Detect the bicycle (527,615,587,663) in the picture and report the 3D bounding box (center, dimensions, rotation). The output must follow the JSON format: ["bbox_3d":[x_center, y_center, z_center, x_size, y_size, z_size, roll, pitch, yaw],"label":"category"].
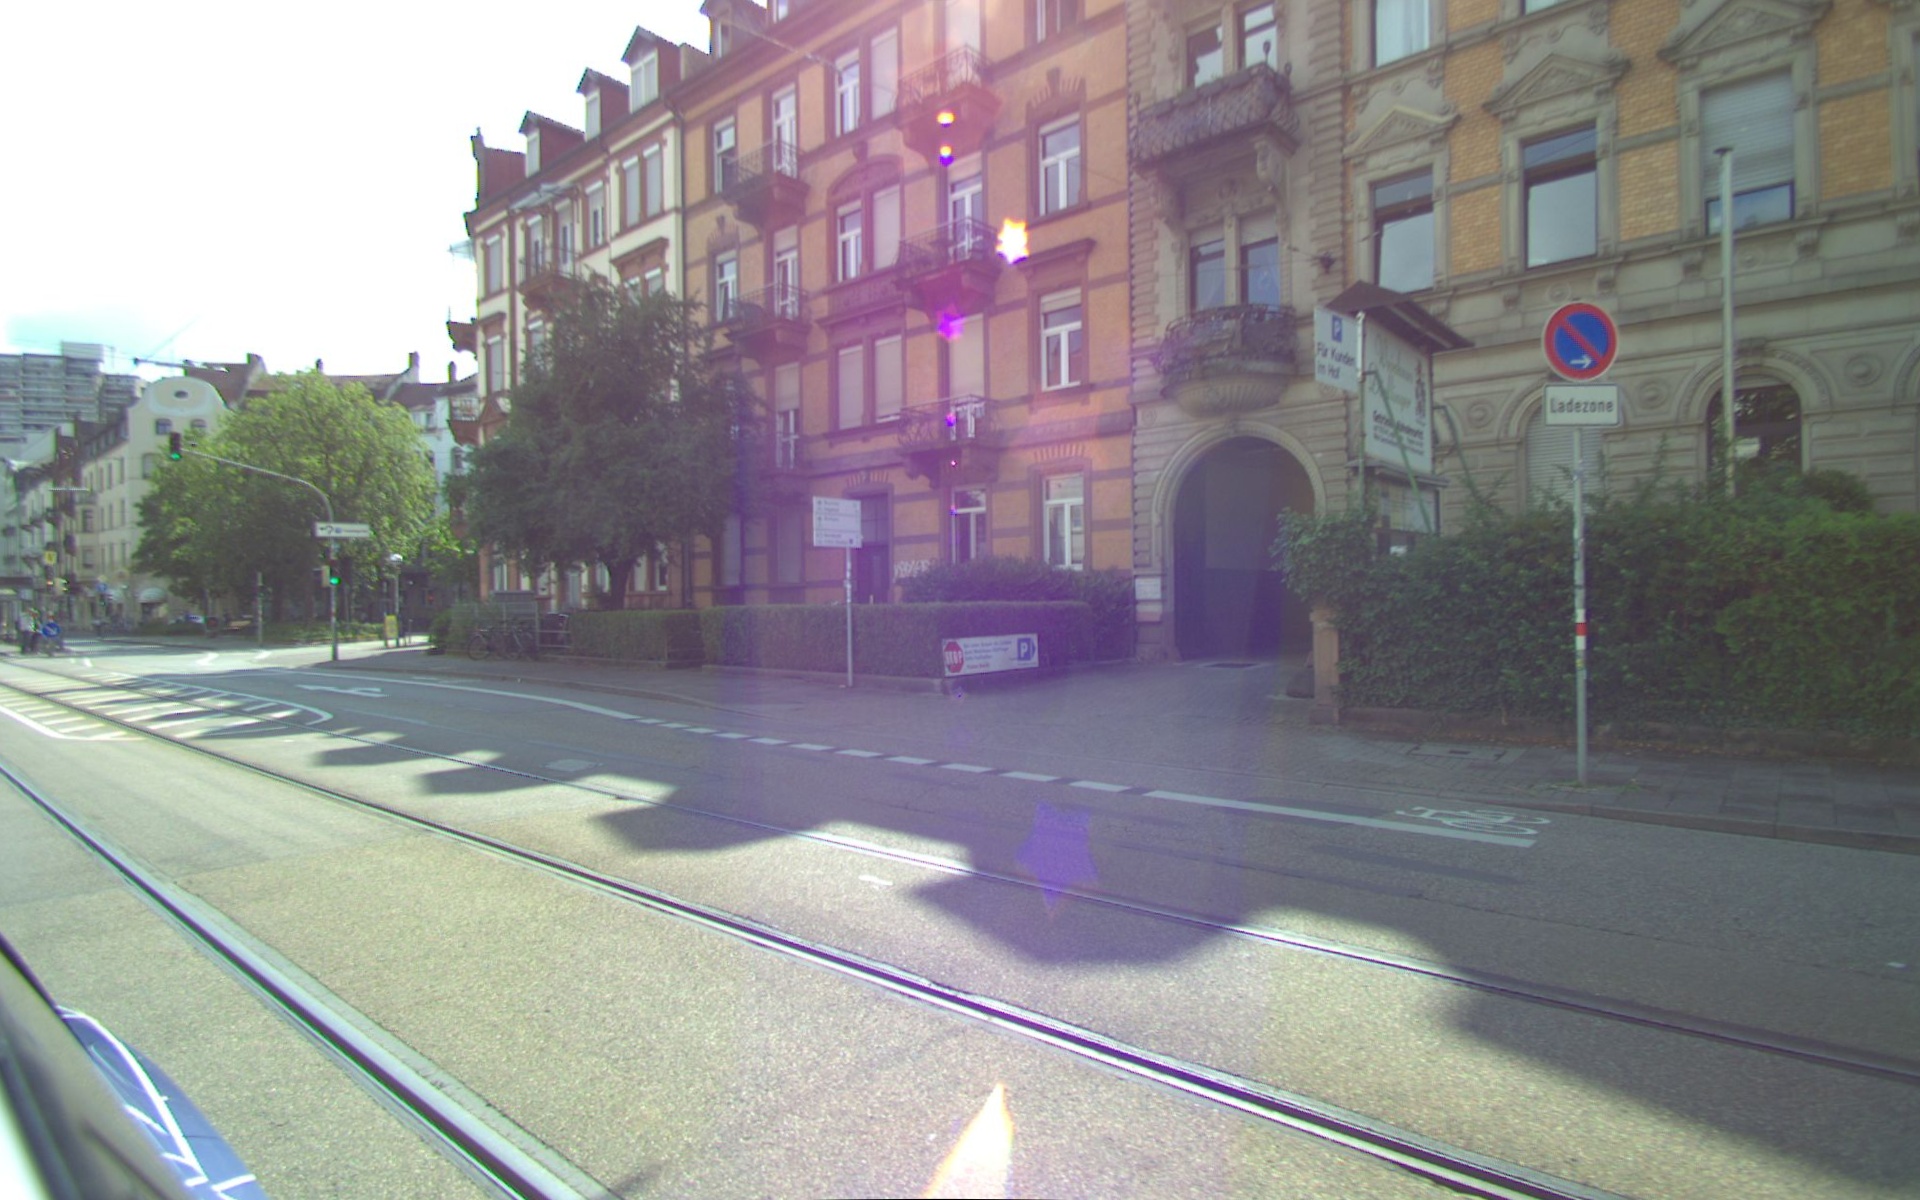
[{"bbox_3d":[-10.082,0.968,25.331,0.496,1.139,1.292,-1,0,39],"label":"bicycle"}]

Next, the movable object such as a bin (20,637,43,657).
[{"bbox_3d":[-34.849,1.773,37.986,0.455,0.723,0.508,-1,0,27],"label":"movable object such as a bin"}]

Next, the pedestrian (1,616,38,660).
[{"bbox_3d":[-34.490,1.377,37.114,0.690,1.586,0.775,-1,-1,27],"label":"pedestrian"}]

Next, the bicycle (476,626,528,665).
[{"bbox_3d":[-11.683,1.143,25.780,1.826,0.939,0.553,-1,0,44],"label":"bicycle"}]

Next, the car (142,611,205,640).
[{"bbox_3d":[-57.358,1.807,73.841,3.369,1.866,1.617,-3,2,-30],"label":"car"}]

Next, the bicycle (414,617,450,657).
[{"bbox_3d":[-17.311,1.183,33.186,0.475,1.234,1.959,-1,0,-11],"label":"bicycle"}]

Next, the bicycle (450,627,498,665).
[{"bbox_3d":[-13.000,1.211,27.055,1.826,0.939,0.553,-1,0,44],"label":"bicycle"}]
